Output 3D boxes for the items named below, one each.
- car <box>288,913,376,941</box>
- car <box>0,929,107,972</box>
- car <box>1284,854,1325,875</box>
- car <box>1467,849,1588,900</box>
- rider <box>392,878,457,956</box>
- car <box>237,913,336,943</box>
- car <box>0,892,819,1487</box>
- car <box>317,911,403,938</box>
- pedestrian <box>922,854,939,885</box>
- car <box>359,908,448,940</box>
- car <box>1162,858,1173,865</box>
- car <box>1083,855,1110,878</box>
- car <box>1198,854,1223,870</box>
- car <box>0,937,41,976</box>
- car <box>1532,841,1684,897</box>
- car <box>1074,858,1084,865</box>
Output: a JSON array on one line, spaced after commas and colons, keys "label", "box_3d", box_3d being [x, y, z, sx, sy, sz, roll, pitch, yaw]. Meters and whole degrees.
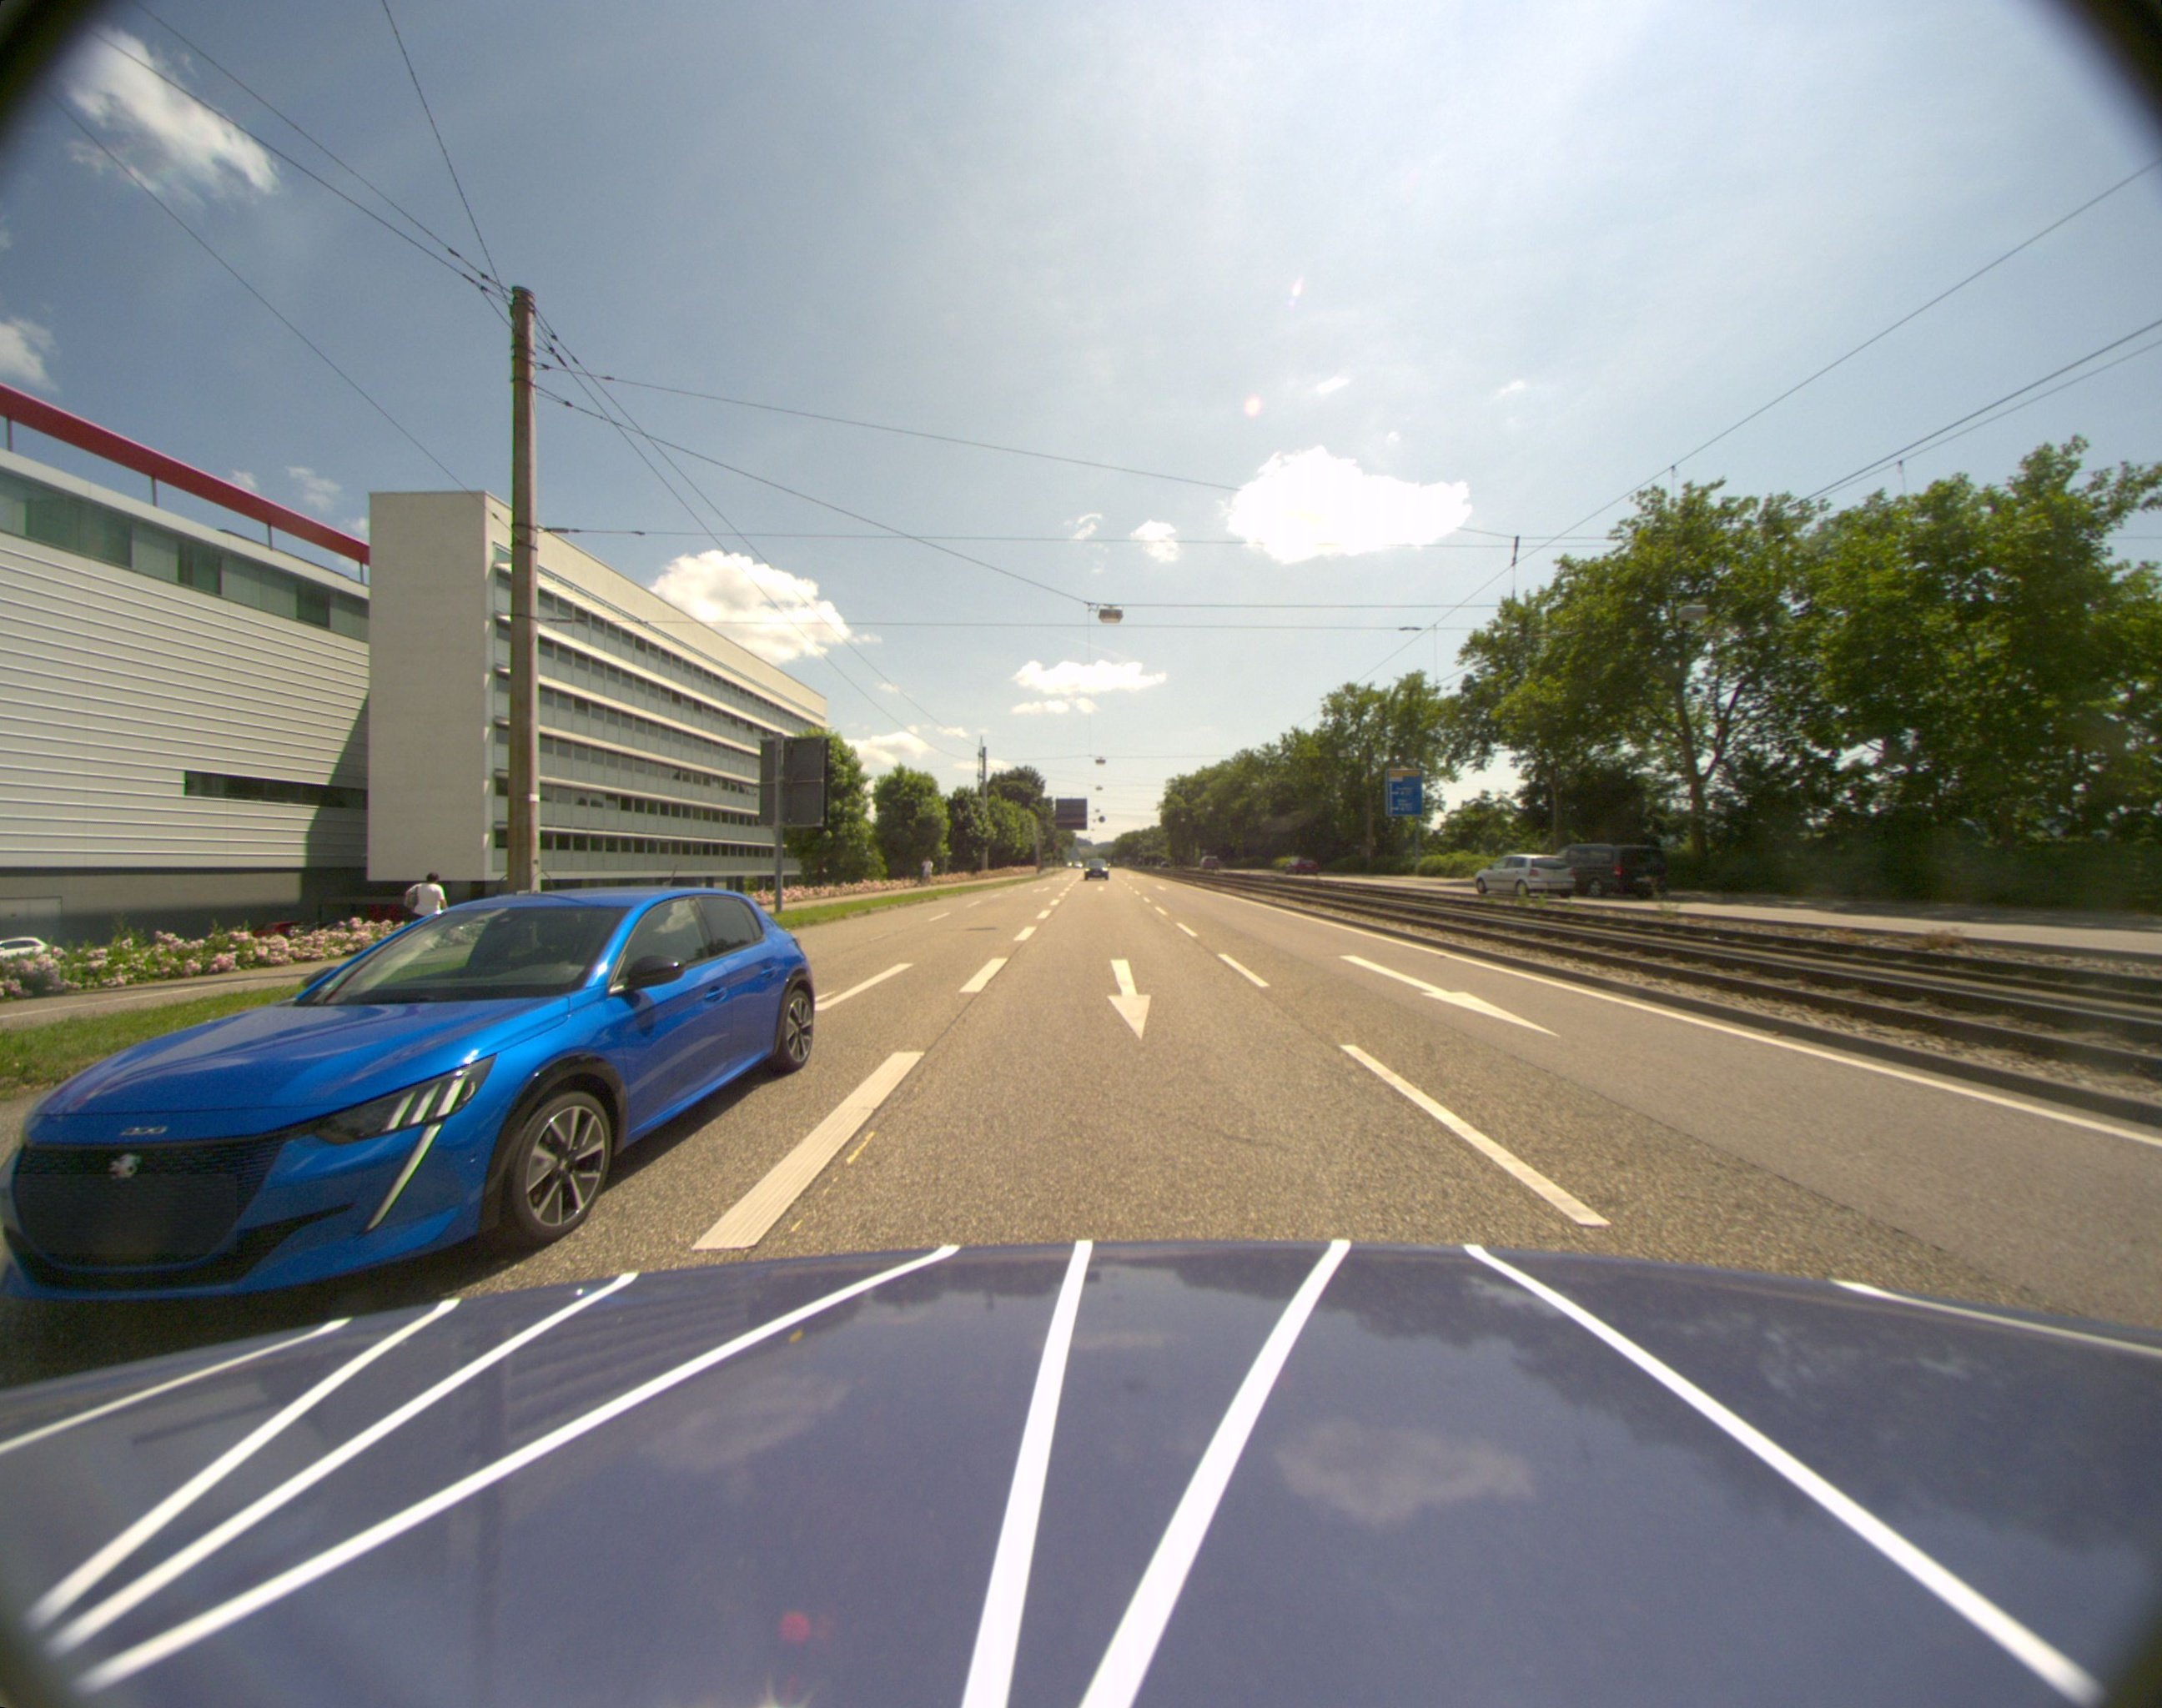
[{"label": "car", "box_3d": [-47.993, 4.638, 48.809, 1.648, 1.377, 4.000, -2, 0, 1]}, {"label": "car", "box_3d": [-51.142, 4.717, 37.087, 1.998, 1.602, 4.000, -2, 0, 1]}, {"label": "car", "box_3d": [18.552, 0.881, 63.268, 1.999, 1.660, 4.468, 1, 0, -1]}, {"label": "car", "box_3d": [15.271, 0.663, 26.251, 1.690, 1.574, 4.058, 2, 0, -1]}, {"label": "rider", "box_3d": [-12.804, 1.216, 14.834, 0.671, 1.449, 0.618, -2, 1, 1]}, {"label": "car", "box_3d": [-50.663, 4.691, 48.572, 1.998, 1.438, 4.000, -2, 0, 1]}, {"label": "car", "box_3d": [-3.081, 1.047, 4.104, 1.842, 1.446, 4.000, -2, 0, 1]}, {"label": "car", "box_3d": [-45.931, 4.482, 48.511, 1.609, 1.314, 4.000, -2, 0, 1]}, {"label": "pedestrian", "box_3d": [-9.120, 0.955, 46.125, 0.758, 1.838, 0.931, -2, 1, 3]}, {"label": "car", "box_3d": [-43.211, 4.439, 48.591, 1.998, 1.602, 4.000, -2, 0, 1]}, {"label": "car", "box_3d": [19.233, 1.609, 169.375, 1.803, 1.495, 4.735, 1, 0, -1]}, {"label": "car", "box_3d": [1.161, 0.908, 56.802, 1.898, 1.564, 4.511, -1, 0, 1]}, {"label": "car", "box_3d": [15.746, 0.953, 92.605, 1.999, 1.820, 4.969, 1, 0, -1]}, {"label": "car", "box_3d": [-48.565, 4.616, 32.129, 1.998, 1.602, 5.146, -2, 0, 1]}, {"label": "car", "box_3d": [18.899, 0.517, 27.615, 1.999, 1.820, 4.969, 1, 0, -1]}, {"label": "car", "box_3d": [-0.465, 1.576, 161.553, 1.896, 1.331, 4.000, -2, 0, 1]}]
